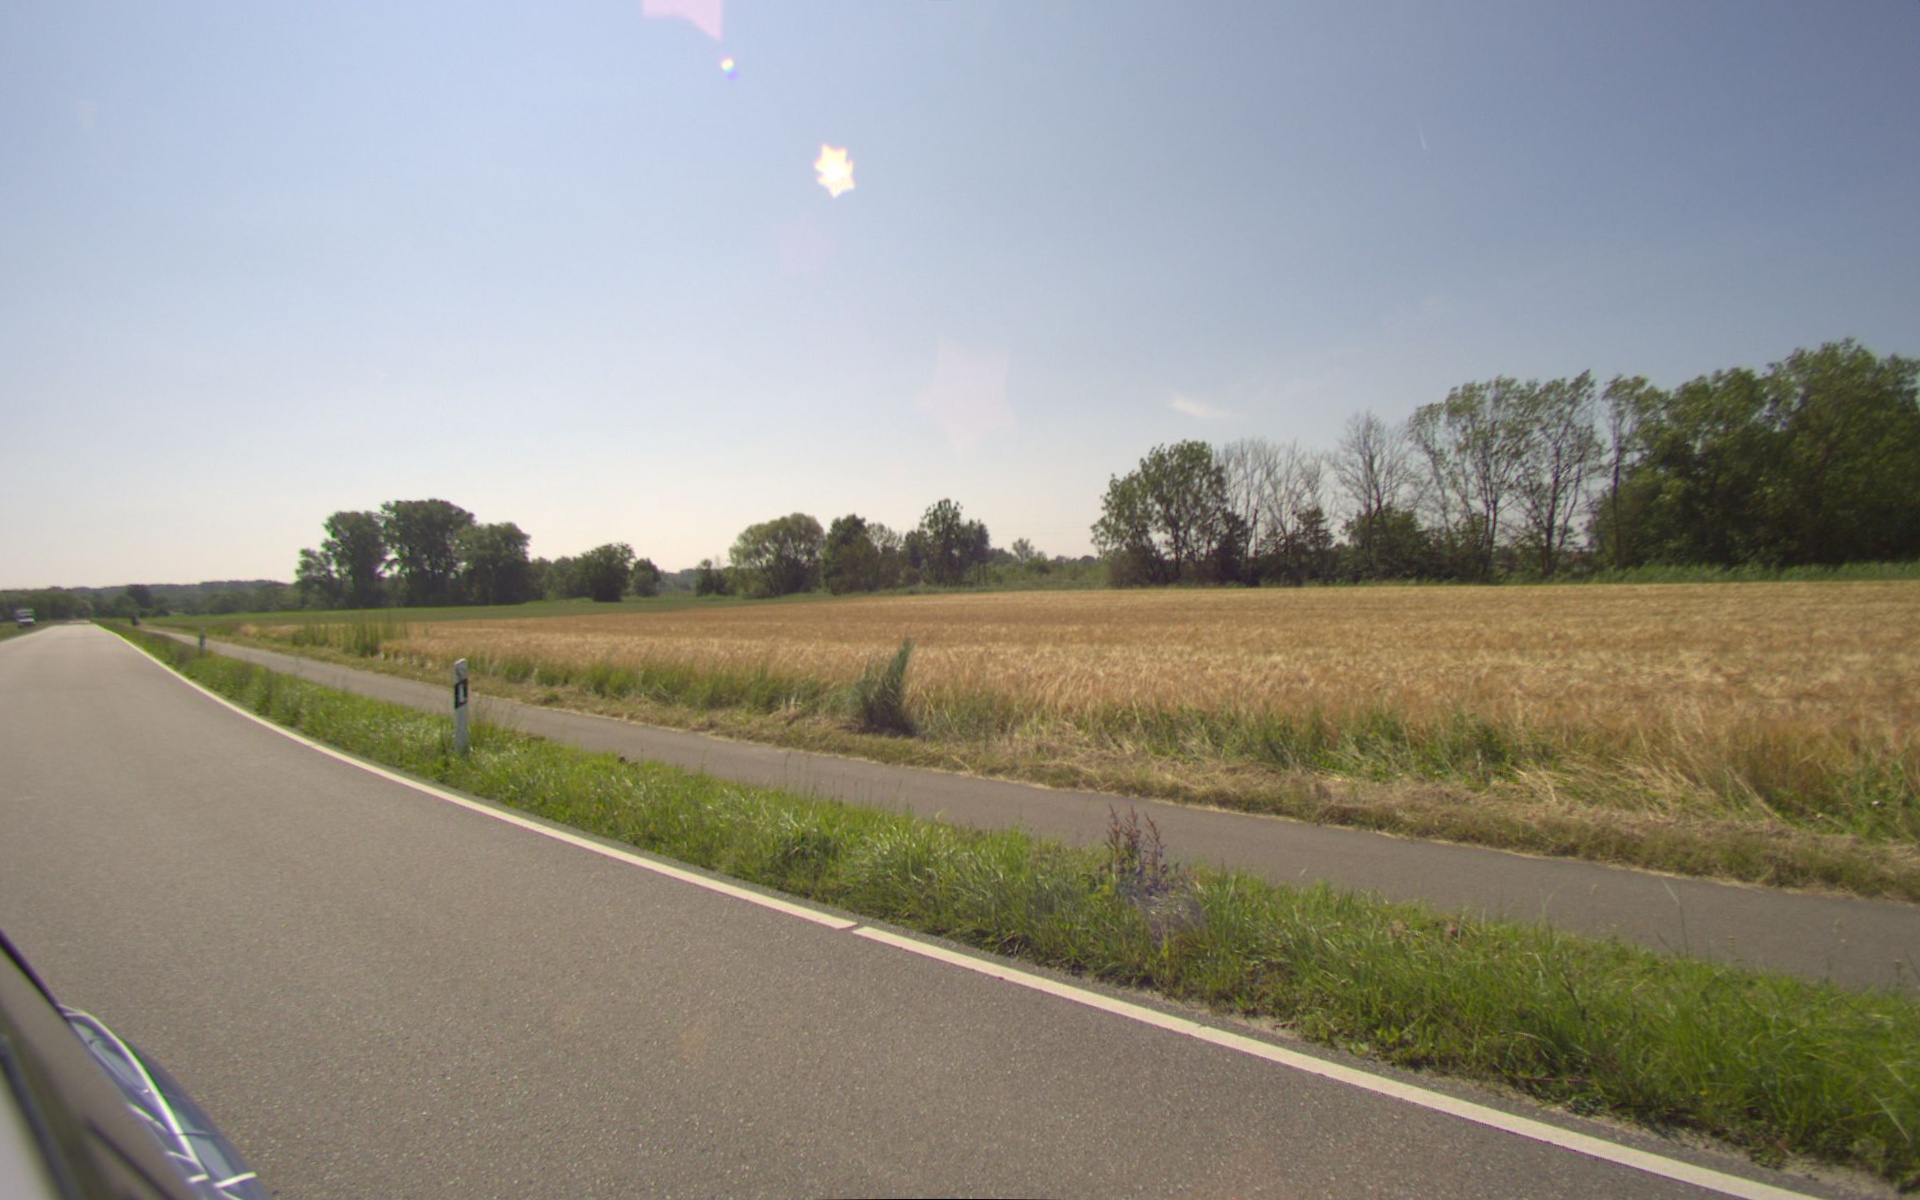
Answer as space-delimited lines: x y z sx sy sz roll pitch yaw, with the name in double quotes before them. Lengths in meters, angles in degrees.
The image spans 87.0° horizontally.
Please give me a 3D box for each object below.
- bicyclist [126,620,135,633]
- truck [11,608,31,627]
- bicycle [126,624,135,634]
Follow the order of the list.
"bicyclist" -101.946 3.229 124.384 0.732 1.507 1.004 -3 1 -41
"truck" -147.008 2.717 158.485 1.969 2.859 5.225 -3 1 -41
"bicycle" -101.925 3.520 124.389 0.732 1.180 2.086 -3 1 -41
